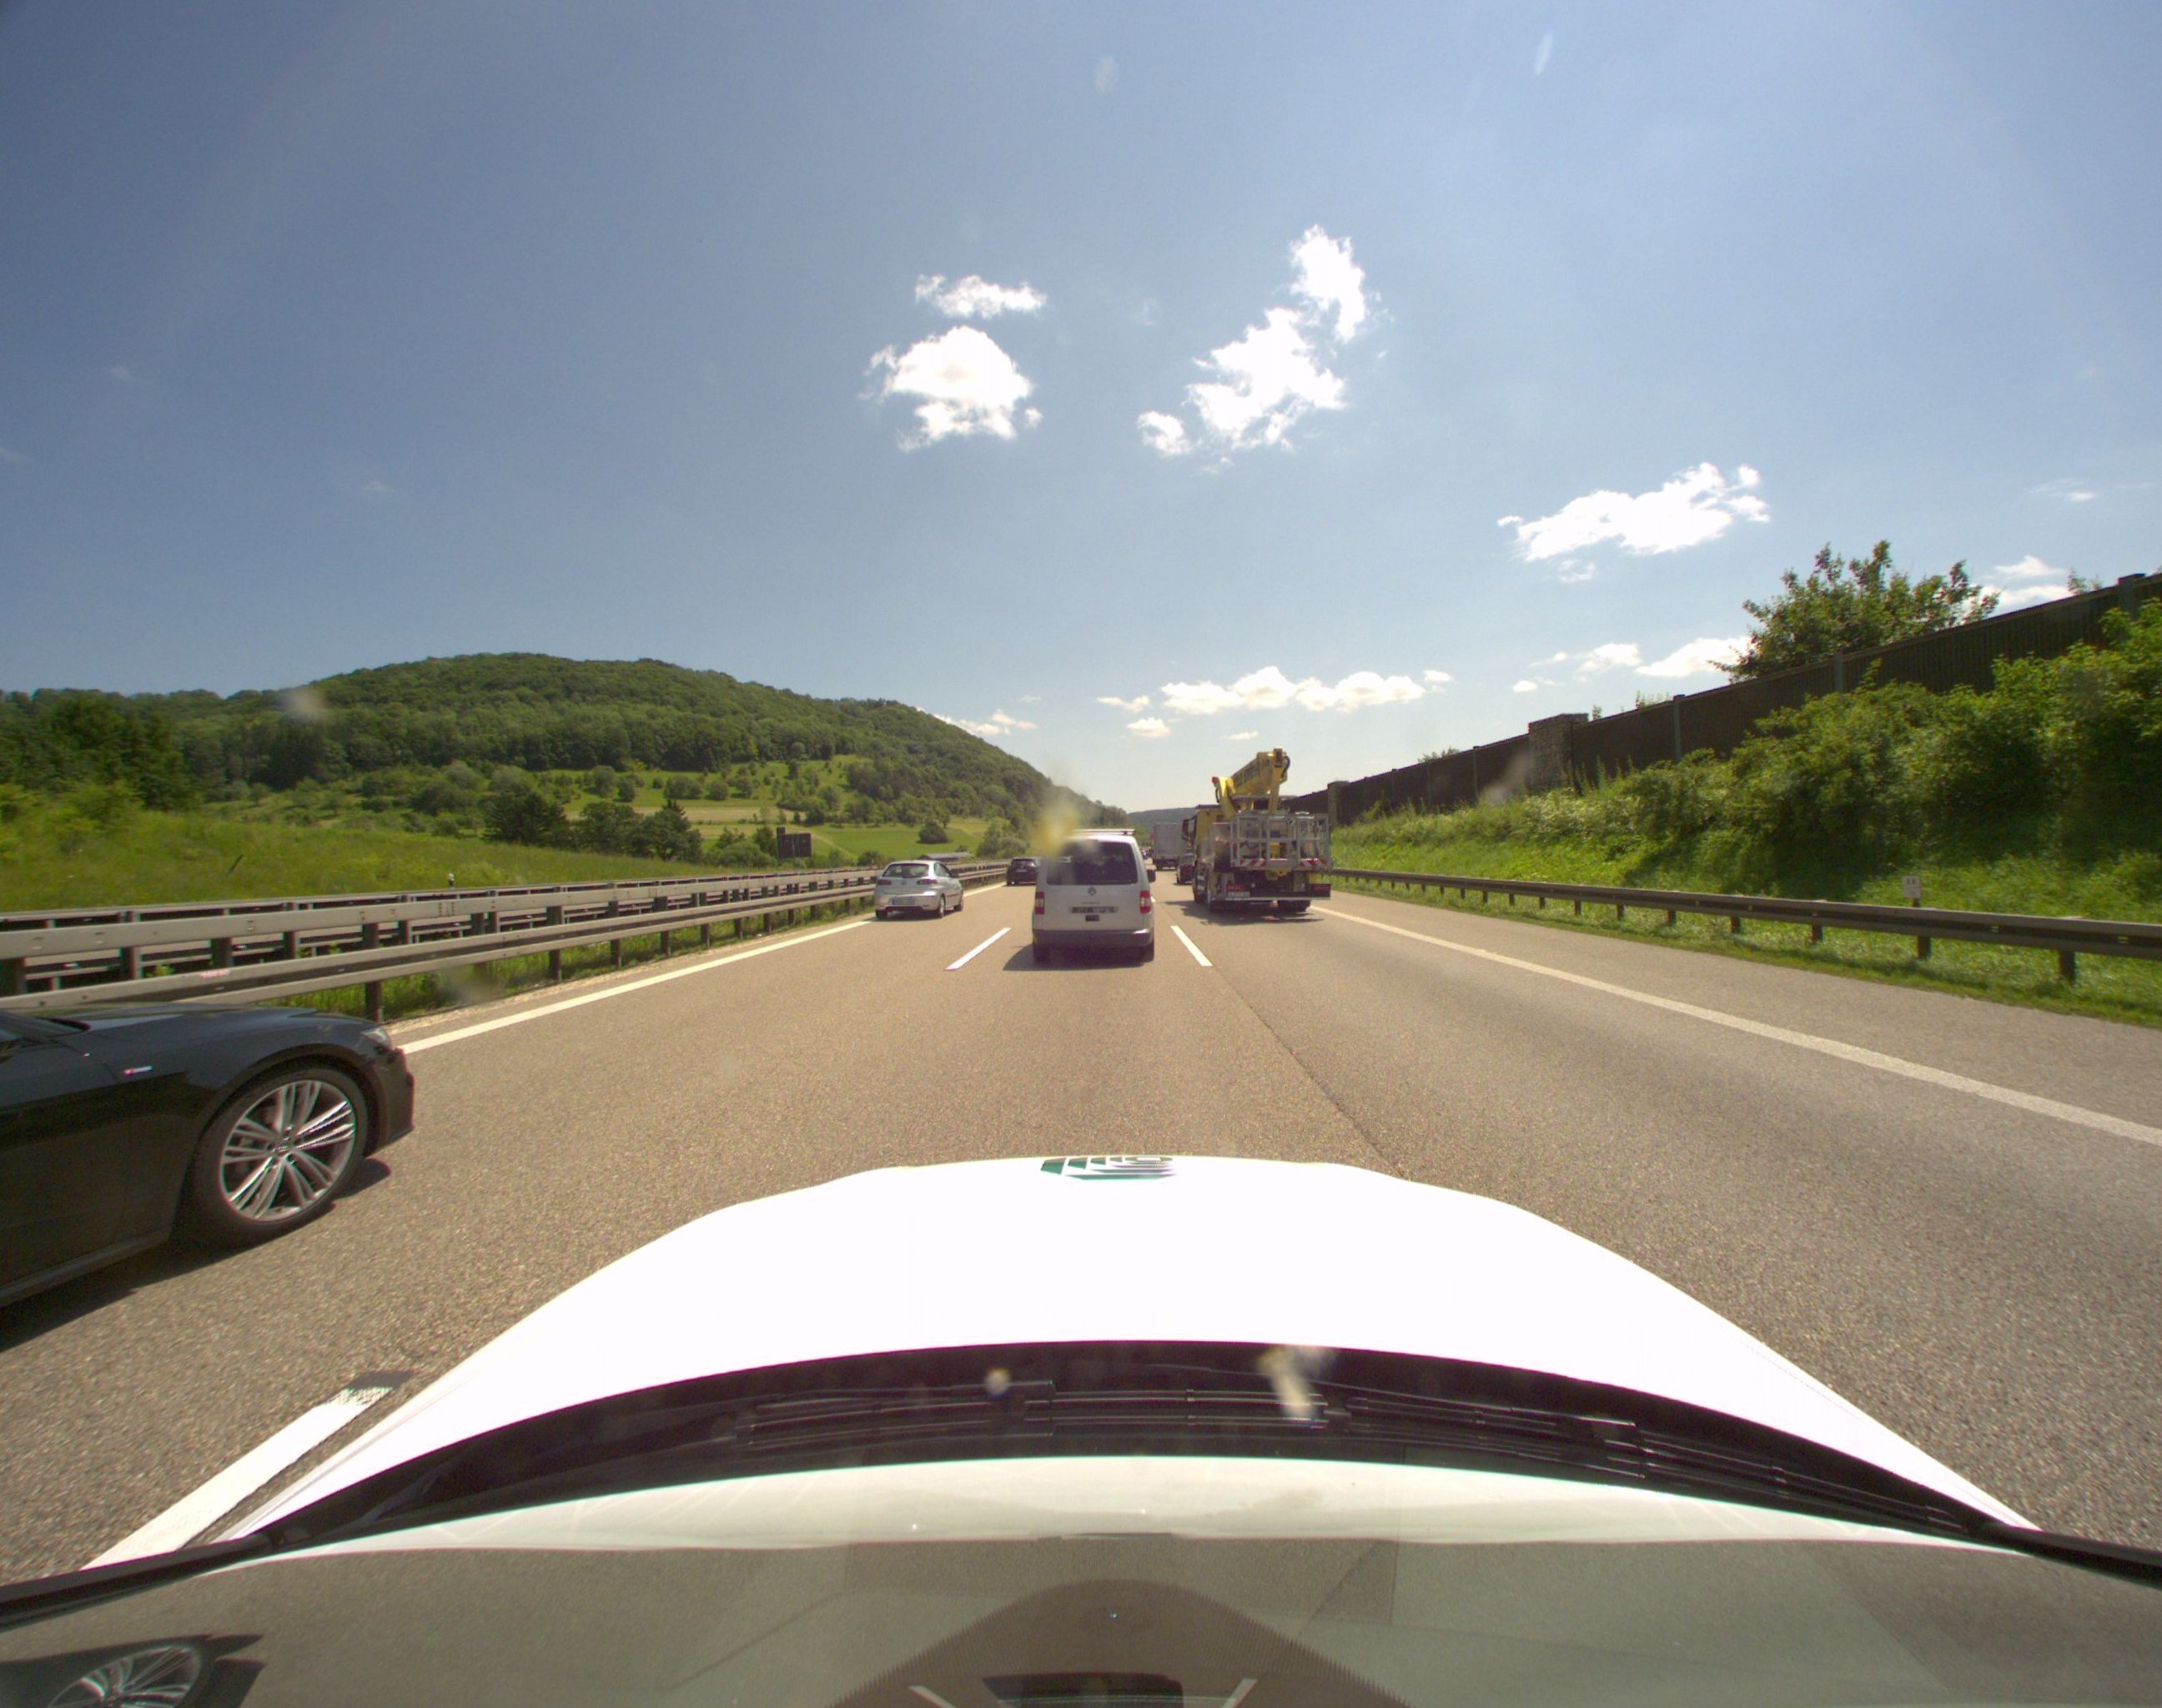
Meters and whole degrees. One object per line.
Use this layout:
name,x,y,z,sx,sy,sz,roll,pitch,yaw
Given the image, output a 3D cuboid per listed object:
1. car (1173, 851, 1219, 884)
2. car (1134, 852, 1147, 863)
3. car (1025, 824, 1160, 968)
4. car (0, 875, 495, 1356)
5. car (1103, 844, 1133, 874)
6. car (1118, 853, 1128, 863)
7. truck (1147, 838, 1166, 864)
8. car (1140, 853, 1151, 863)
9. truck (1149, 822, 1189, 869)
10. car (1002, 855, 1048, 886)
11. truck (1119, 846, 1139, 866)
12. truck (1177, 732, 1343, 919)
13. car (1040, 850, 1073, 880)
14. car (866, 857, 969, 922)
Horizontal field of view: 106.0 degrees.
car,5.423,0.621,38.824,1.779,1.458,3.772,-1,0,2
car,10.058,0.634,137.543,1.985,1.805,4.003,0,-1,3
car,0.217,0.557,12.827,1.749,1.868,4.002,-1,0,2
car,-4.167,0.829,1.920,1.793,1.390,4.972,-1,0,2
car,2.562,0.366,56.739,1.986,1.975,4.002,-1,0,2
car,7.967,0.784,154.242,1.985,1.805,4.003,0,-1,3
truck,9.977,-0.387,107.779,1.986,3.251,6.802,0,-1,2
car,12.380,0.771,156.659,1.985,1.805,4.003,0,-1,3
truck,7.462,-0.647,69.751,2.928,3.823,8.243,0,-1,3
car,-2.789,0.794,41.324,1.917,1.499,4.002,-1,0,2
truck,6.364,0.211,107.468,2.379,2.541,5.947,-1,0,5
truck,4.342,-0.613,21.751,2.694,3.942,8.725,-1,0,2
car,-1.699,0.775,57.948,1.986,2.013,4.002,-2,0,2
car,-4.091,0.842,20.977,1.689,1.445,3.864,-1,0,2
